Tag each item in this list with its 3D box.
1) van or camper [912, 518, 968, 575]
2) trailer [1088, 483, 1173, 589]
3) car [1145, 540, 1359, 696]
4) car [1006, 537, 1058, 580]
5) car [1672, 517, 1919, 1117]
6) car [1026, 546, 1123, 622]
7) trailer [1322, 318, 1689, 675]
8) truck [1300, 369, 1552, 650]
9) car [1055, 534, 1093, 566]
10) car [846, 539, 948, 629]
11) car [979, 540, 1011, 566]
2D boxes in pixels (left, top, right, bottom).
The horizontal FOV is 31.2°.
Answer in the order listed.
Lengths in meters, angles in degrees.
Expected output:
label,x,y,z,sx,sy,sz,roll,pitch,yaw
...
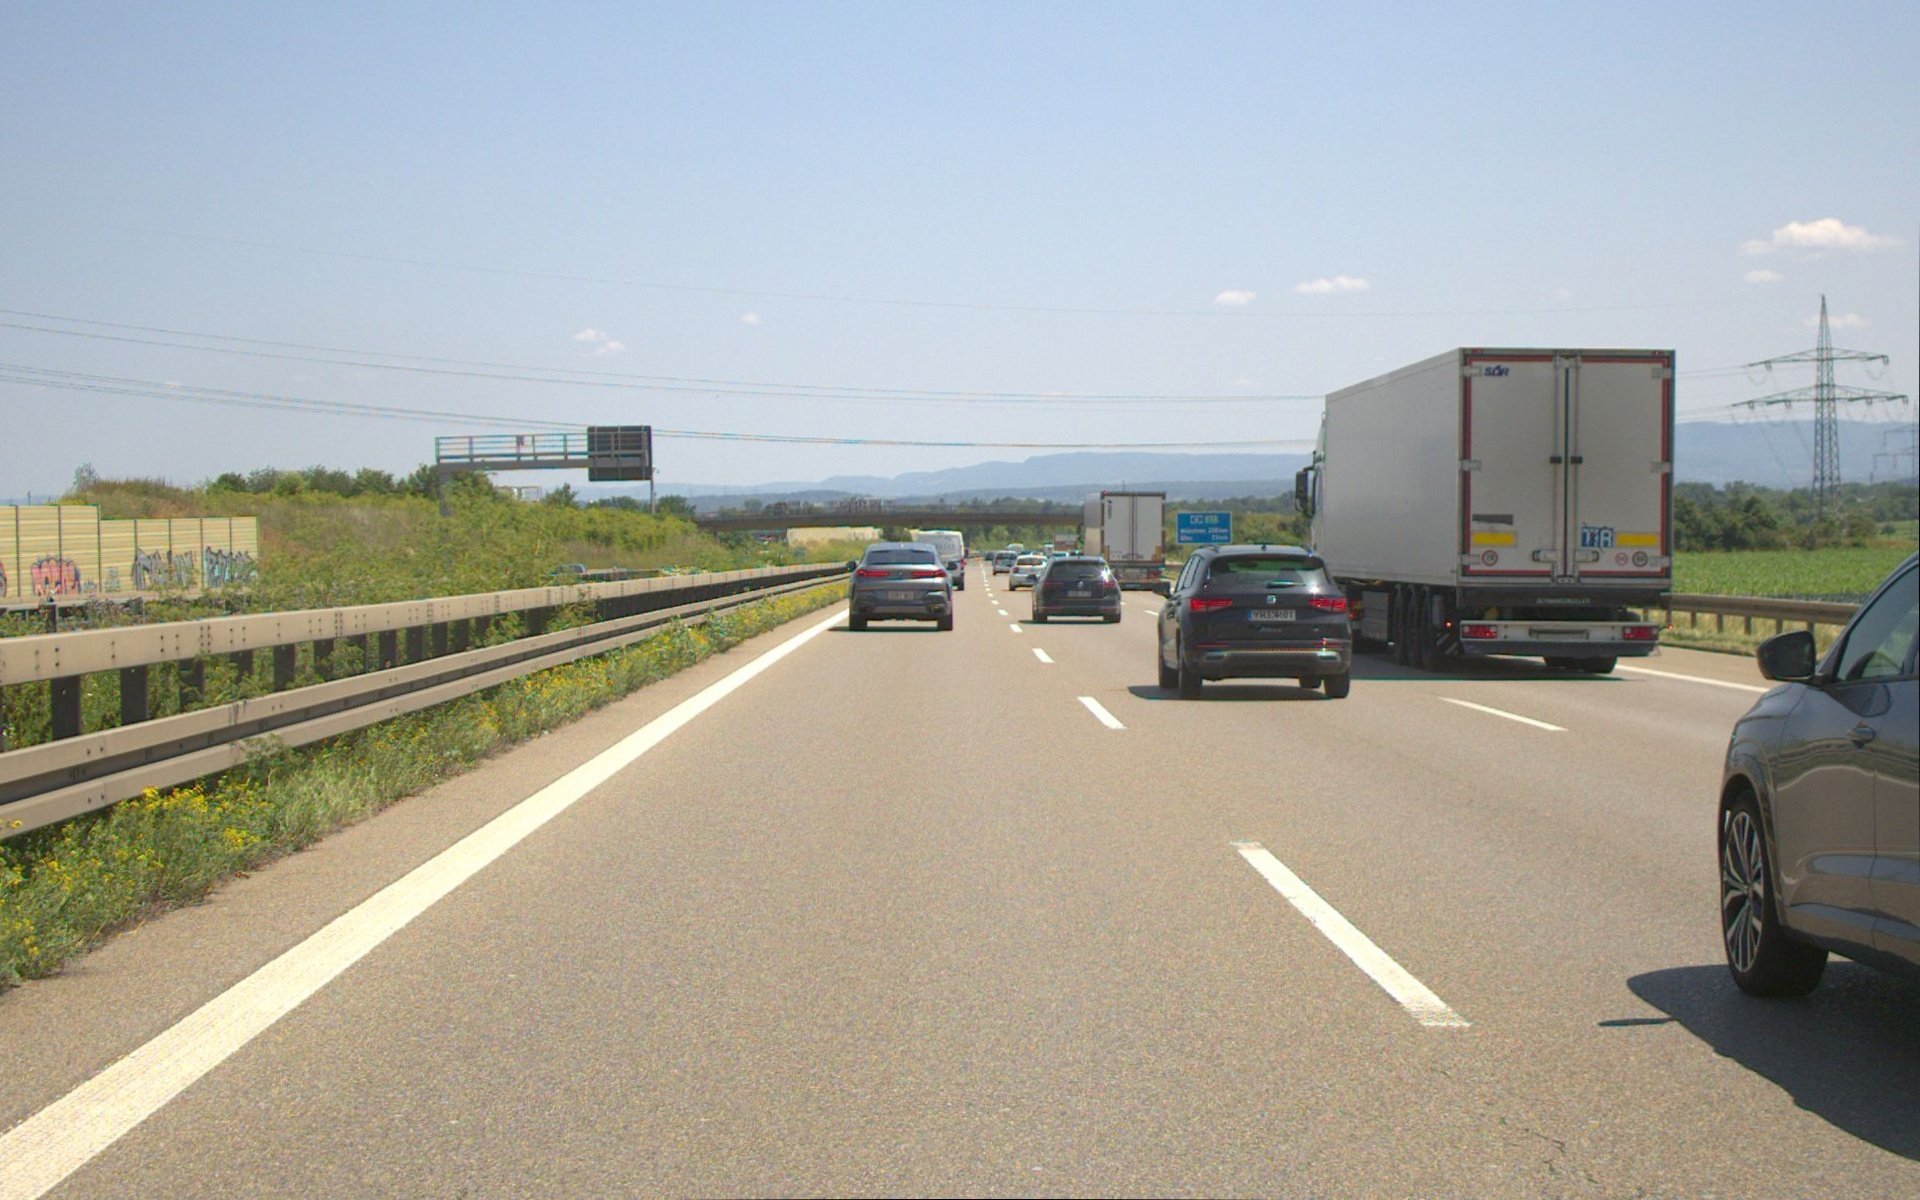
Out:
label,x,y,z,sx,sy,sz,roll,pitch,yaw
van or camper,-0.778,-2.109,137.004,2.110,2.204,5.265,1,1,1
trailer,7.015,-2.619,143.440,2.943,4.184,13.596,1,1,1
car,3.064,0.160,36.775,1.796,1.556,3.824,1,1,-2
car,2.842,-1.662,136.953,1.993,1.677,4.000,1,1,1
car,3.550,0.577,10.293,1.851,1.643,4.645,0,1,0
car,2.459,-0.366,74.766,1.933,1.569,4.935,1,1,0
trailer,7.177,-1.304,47.479,2.868,4.205,13.295,1,1,0
truck,7.140,-1.359,53.616,2.862,4.077,6.880,1,1,-1
car,6.183,-2.702,186.796,1.993,1.677,4.000,1,1,1
car,-1.247,-0.315,66.157,1.851,1.658,3.735,1,1,-2
car,2.258,-3.048,222.371,1.993,1.677,4.000,1,1,1
